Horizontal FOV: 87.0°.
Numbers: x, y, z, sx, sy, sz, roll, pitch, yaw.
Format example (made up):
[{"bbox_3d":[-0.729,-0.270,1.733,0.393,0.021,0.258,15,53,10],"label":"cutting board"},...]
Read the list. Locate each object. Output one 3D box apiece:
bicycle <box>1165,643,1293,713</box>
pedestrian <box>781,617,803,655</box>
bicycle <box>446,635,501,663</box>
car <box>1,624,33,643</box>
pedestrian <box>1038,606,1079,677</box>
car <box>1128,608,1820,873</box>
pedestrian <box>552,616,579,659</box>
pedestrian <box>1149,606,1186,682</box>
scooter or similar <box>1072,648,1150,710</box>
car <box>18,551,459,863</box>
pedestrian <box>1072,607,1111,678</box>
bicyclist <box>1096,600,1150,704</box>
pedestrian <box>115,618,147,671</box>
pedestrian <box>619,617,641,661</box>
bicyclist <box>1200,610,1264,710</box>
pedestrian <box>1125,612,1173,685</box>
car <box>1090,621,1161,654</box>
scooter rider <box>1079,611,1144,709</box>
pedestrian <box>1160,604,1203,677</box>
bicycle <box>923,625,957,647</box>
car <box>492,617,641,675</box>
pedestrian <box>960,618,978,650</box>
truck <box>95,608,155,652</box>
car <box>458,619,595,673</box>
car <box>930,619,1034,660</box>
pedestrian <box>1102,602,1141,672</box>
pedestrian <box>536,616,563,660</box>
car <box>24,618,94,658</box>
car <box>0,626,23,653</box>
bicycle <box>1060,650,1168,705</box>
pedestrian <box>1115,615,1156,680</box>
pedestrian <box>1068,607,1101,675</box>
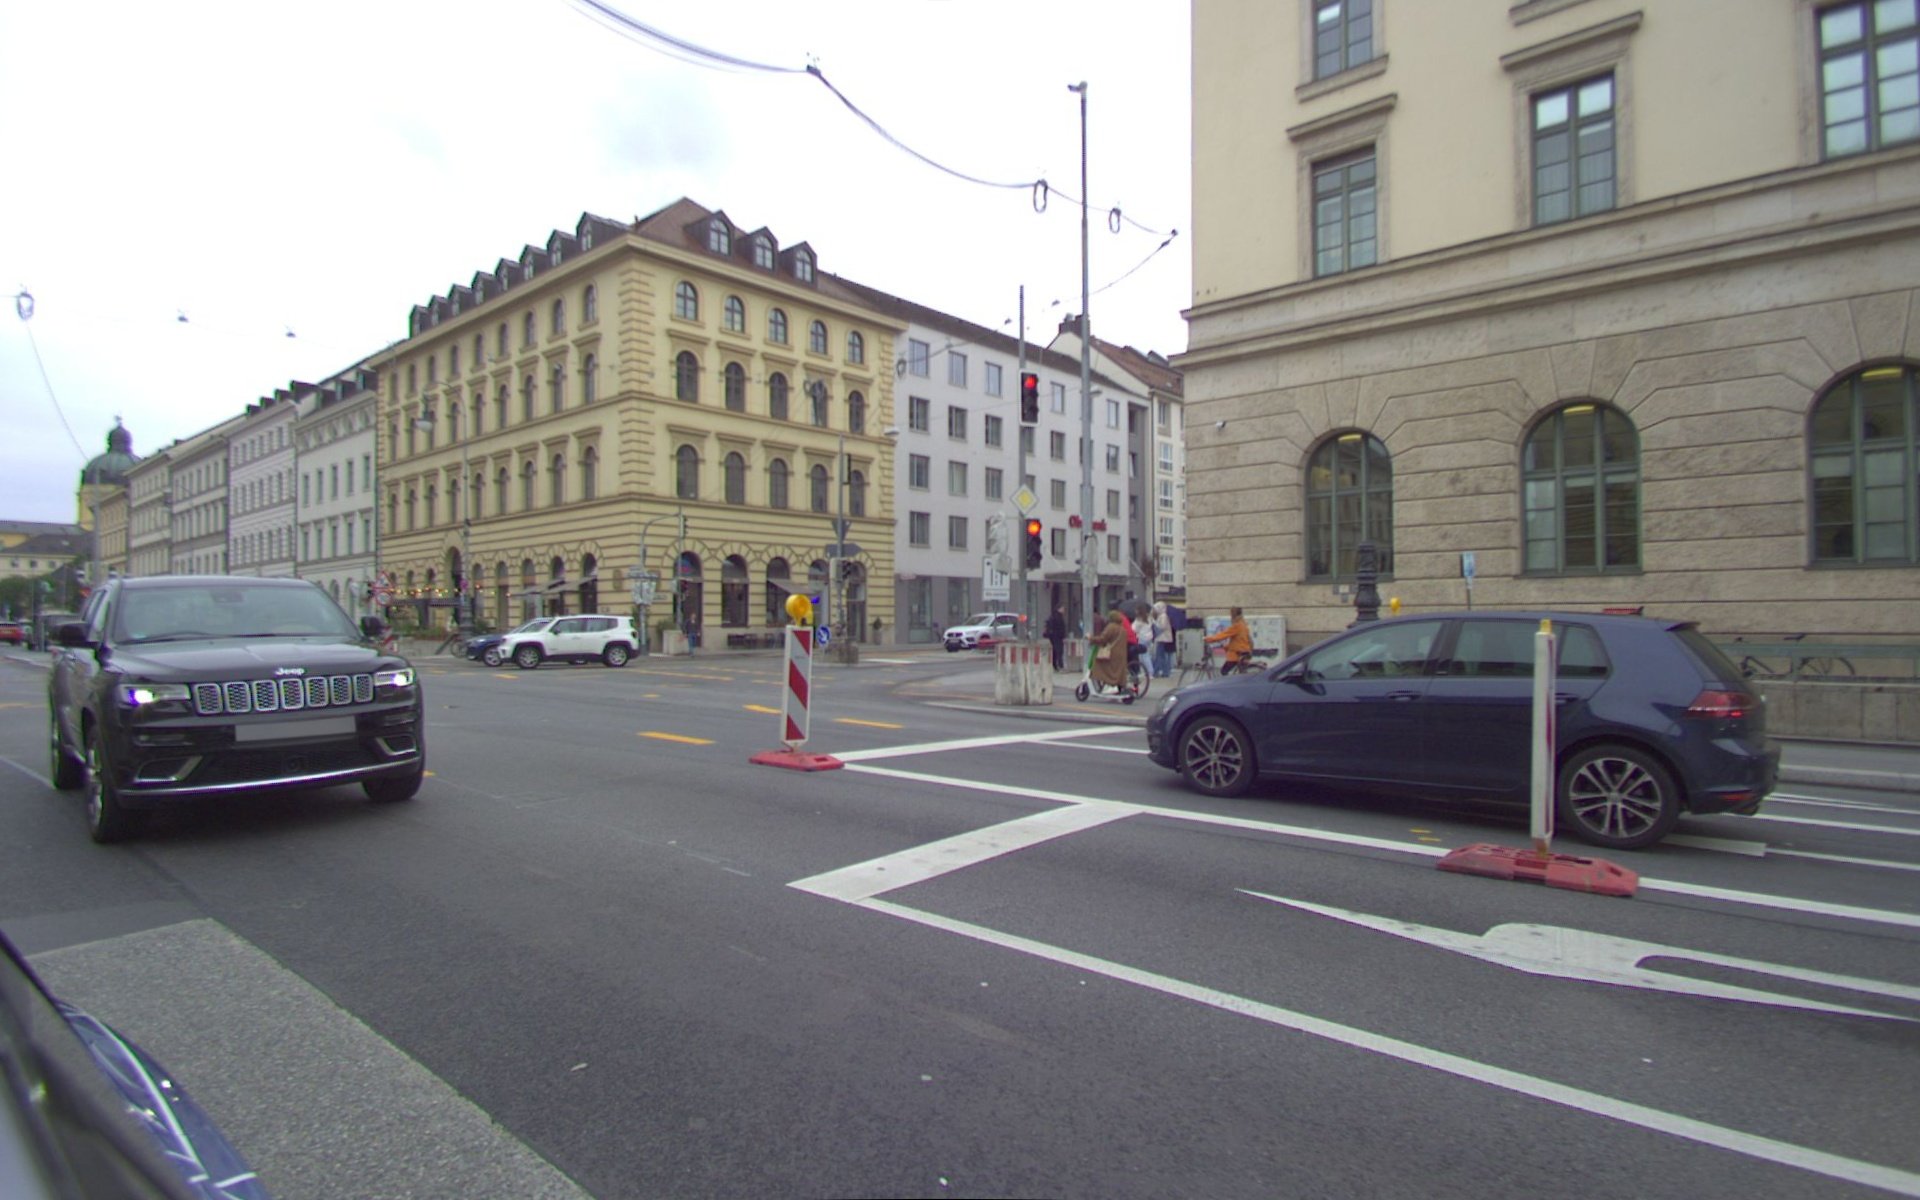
[{"bbox_3d":[4.510,1.283,17.050,1.965,1.048,0.784,0,-1,44],"label":"bicycle"},{"bbox_3d":[-7.923,1.677,47.720,0.725,1.785,0.740,1,-1,-41],"label":"pedestrian"},{"bbox_3d":[-19.663,1.986,40.890,2.180,1.107,0.597,-1,-2,17],"label":"bicycle"},{"bbox_3d":[-88.074,3.128,94.502,3.998,1.733,1.798,-2,-2,41],"label":"car"},{"bbox_3d":[2.499,1.042,25.748,0.668,1.769,0.822,1,-1,-33],"label":"pedestrian"},{"bbox_3d":[3.514,0.787,7.414,4.238,1.399,1.725,0,-2,41],"label":"car"},{"bbox_3d":[-16.585,1.565,42.543,0.733,1.785,0.731,0,-1,31],"label":"pedestrian"},{"bbox_3d":[4.706,0.989,22.940,0.533,1.684,0.619,1,-1,-41],"label":"pedestrian"},{"bbox_3d":[2.594,1.341,17.465,1.215,0.972,0.579,0,-1,43],"label":"scooter or similar"},{"bbox_3d":[-5.867,0.667,7.982,4.585,1.748,1.973,-2,-2,43],"label":"car"},{"bbox_3d":[3.307,1.051,25.456,0.806,1.769,0.587,1,-1,-18],"label":"pedestrian"},{"bbox_3d":[2.995,0.932,18.627,0.746,1.856,0.651,0,-1,44],"label":"bicyclist"},{"bbox_3d":[-28.558,1.517,34.867,0.739,1.785,0.726,0,-1,43],"label":"pedestrian"},{"bbox_3d":[-13.451,1.577,41.194,0.726,1.785,0.738,1,-1,-28],"label":"pedestrian"},{"bbox_3d":[4.572,0.984,16.999,0.746,1.627,0.784,0,-1,44],"label":"bicyclist"},{"bbox_3d":[4.195,1.050,22.438,0.657,1.569,0.821,1,-1,-41],"label":"pedestrian"},{"bbox_3d":[9.196,2.066,56.043,1.999,1.748,4.176,-2,-2,40],"label":"car"},{"bbox_3d":[2.608,1.012,17.457,0.935,1.635,0.584,0,-1,43],"label":"scooter rider"},{"bbox_3d":[5.304,0.954,24.231,0.717,1.706,0.808,0,-1,42],"label":"pedestrian"},{"bbox_3d":[-1.129,2.043,57.877,0.600,1.252,2.168,0,-1,43],"label":"bicycle"},{"bbox_3d":[-12.158,1.383,31.291,4.159,1.690,1.805,0,-2,-27],"label":"car"},{"bbox_3d":[0.536,1.965,58.457,0.739,1.785,0.726,0,-1,41],"label":"pedestrian"},{"bbox_3d":[-52.978,1.887,64.193,4.781,2.683,2.191,-2,-2,42],"label":"truck"},{"bbox_3d":[-14.640,1.510,34.212,4.159,1.690,1.745,0,-2,-27],"label":"car"},{"bbox_3d":[0.943,1.538,40.636,1.998,1.535,4.176,-2,-2,40],"label":"car"},{"bbox_3d":[4.122,0.940,25.852,0.806,1.769,0.587,1,-1,-18],"label":"pedestrian"},{"bbox_3d":[-16.982,1.577,41.904,0.733,1.785,0.731,0,-1,31],"label":"pedestrian"},{"bbox_3d":[-48.161,2.005,54.087,4.447,2.029,2.215,-2,-2,41],"label":"car"},{"bbox_3d":[-64.409,2.646,67.967,3.998,1.733,1.798,-2,-2,41],"label":"car"},{"bbox_3d":[2.829,1.405,18.781,1.979,0.886,0.652,0,-1,44],"label":"bicycle"},{"bbox_3d":[4.287,1.139,24.709,0.667,1.539,0.808,0,-1,45],"label":"pedestrian"},{"bbox_3d":[3.313,1.079,26.906,0.811,1.769,0.583,0,-1,11],"label":"pedestrian"}]
